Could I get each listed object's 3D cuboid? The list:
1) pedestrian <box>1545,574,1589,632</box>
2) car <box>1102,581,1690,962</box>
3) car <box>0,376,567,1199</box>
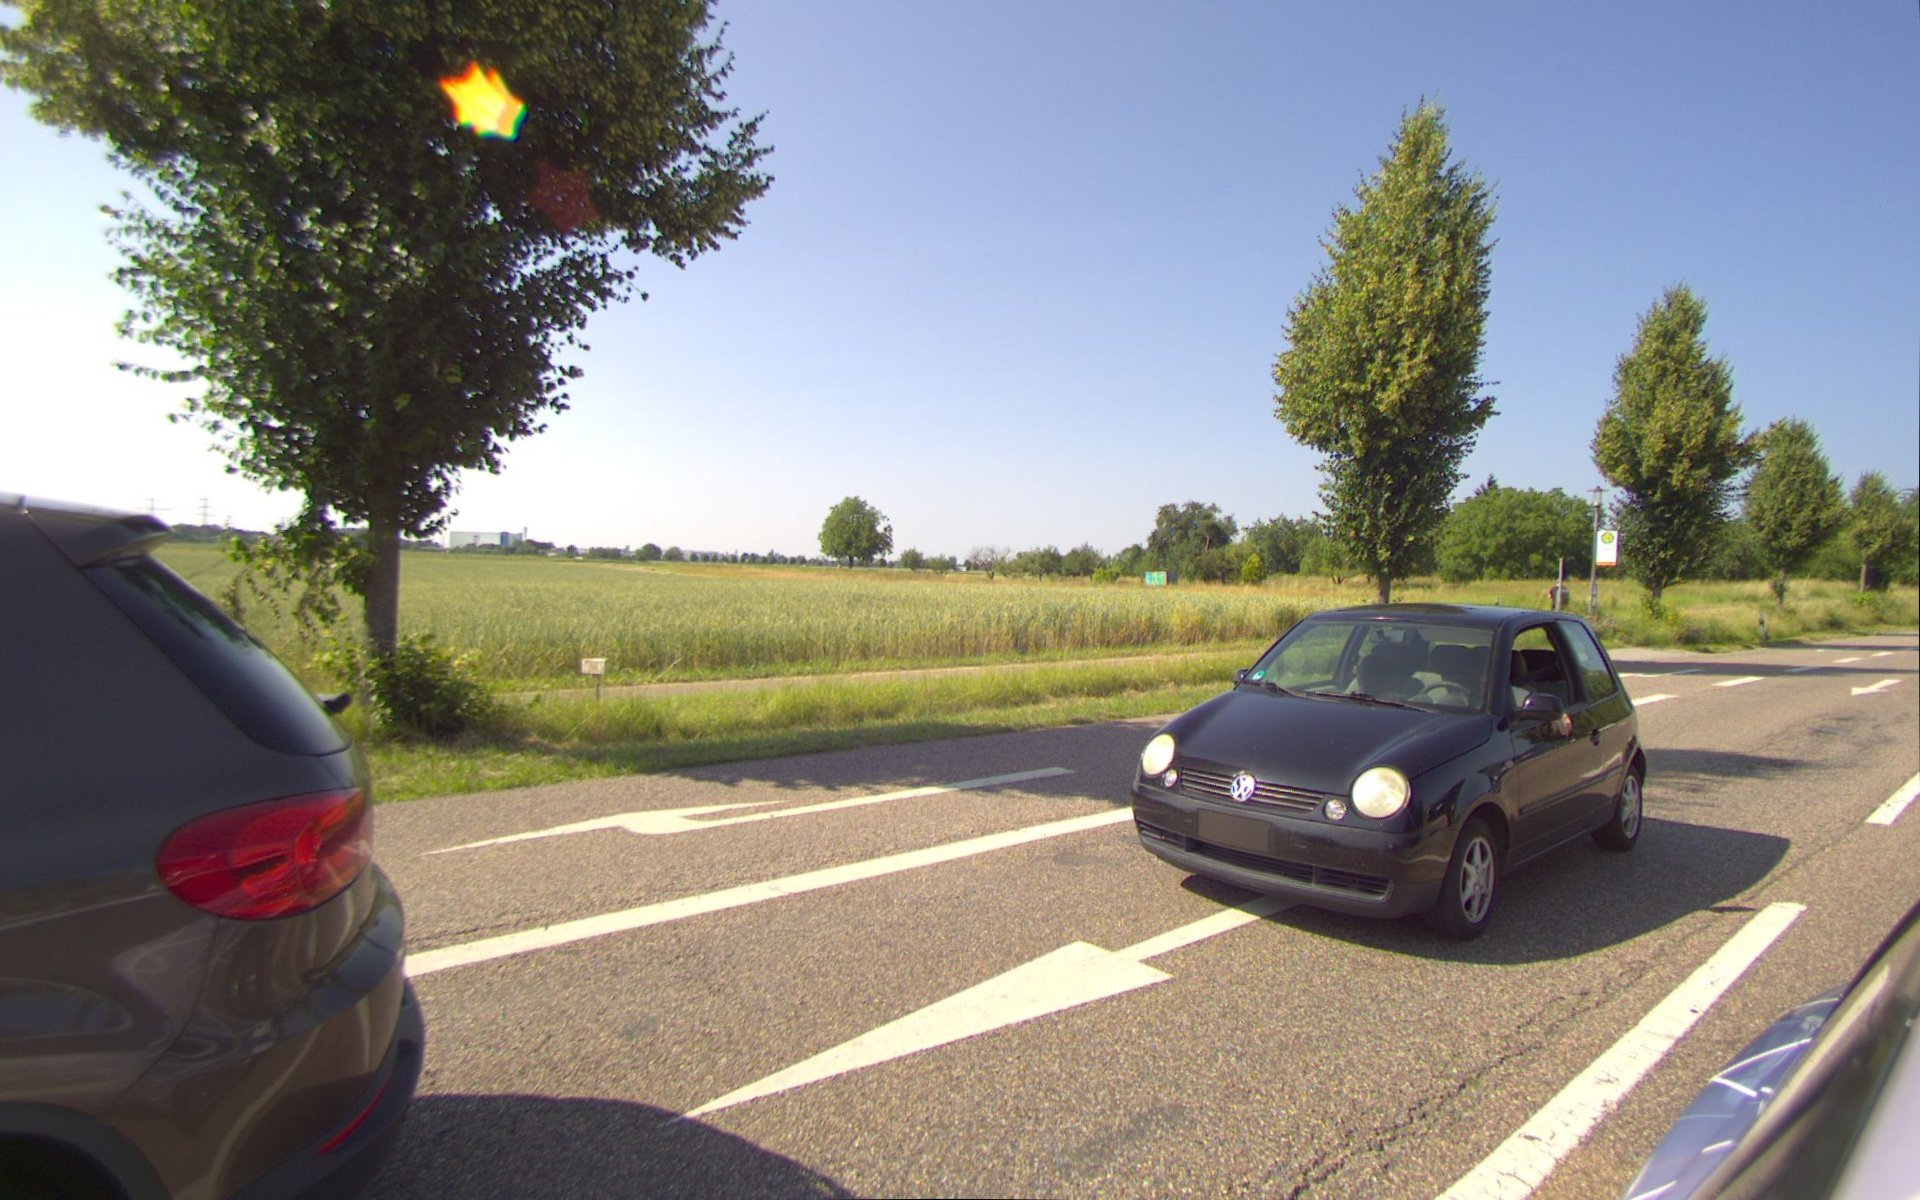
[{"bbox_3d":[20.090,0.087,33.503,1.174,1.862,0.903,0,2,-43],"label":"pedestrian"},{"bbox_3d":[2.588,0.643,5.643,3.559,1.451,1.628,0,0,-41],"label":"car"},{"bbox_3d":[-2.787,0.550,1.088,4.075,1.676,1.758,0,0,-42],"label":"car"}]
